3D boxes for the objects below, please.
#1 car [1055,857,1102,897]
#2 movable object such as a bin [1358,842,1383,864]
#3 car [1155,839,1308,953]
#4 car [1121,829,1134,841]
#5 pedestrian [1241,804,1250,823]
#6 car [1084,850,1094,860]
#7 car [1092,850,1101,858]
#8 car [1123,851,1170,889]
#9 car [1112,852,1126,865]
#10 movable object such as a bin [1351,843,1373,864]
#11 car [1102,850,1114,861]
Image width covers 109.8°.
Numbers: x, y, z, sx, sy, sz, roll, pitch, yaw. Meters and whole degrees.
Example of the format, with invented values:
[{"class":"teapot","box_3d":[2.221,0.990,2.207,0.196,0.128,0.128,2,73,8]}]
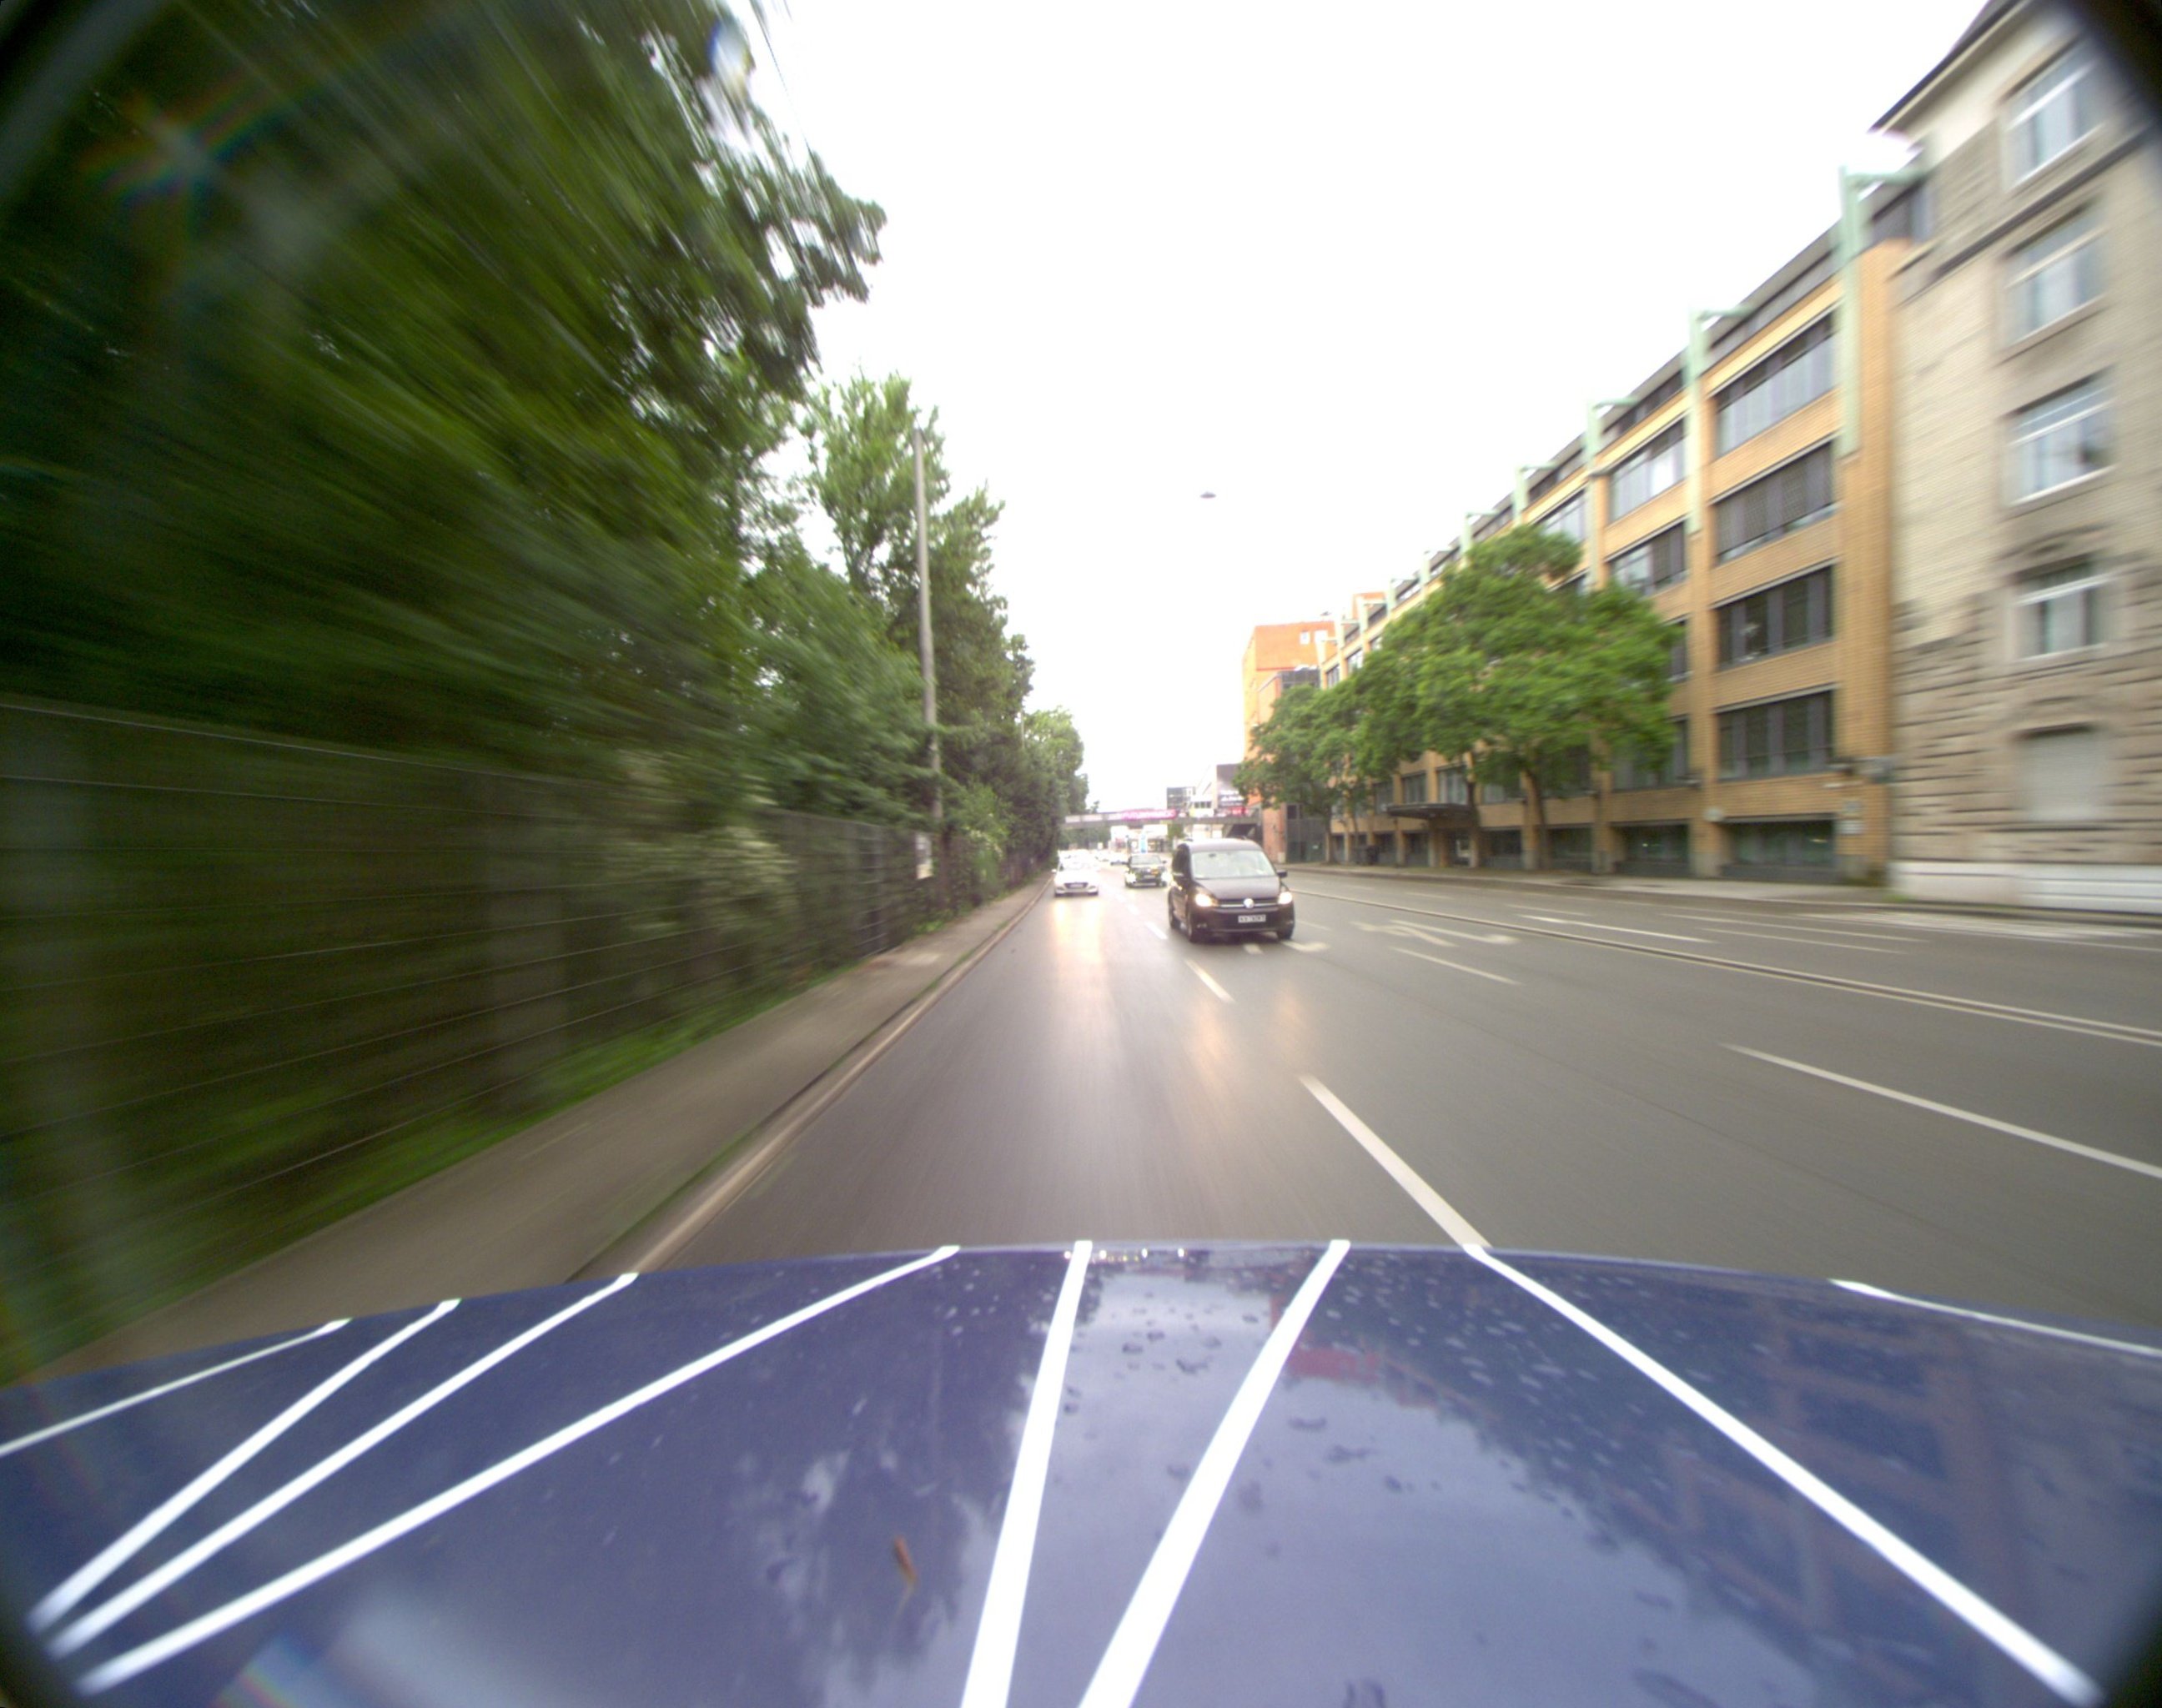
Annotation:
[{"class":"car","box_3d":[-0.131,0.893,31.164,1.731,1.431,3.999,-3,1,-1]},{"class":"movable object such as a bin","box_3d":[20.472,-0.065,53.788,1.071,1.428,1.372,-4,0,-5]},{"class":"car","box_3d":[2.600,0.667,14.097,1.842,1.780,3.999,-1,0,-3]},{"class":"car","box_3d":[7.289,-2.956,118.291,1.823,1.602,4.000,-4,1,5]},{"class":"pedestrian","box_3d":[19.606,-4.808,90.550,0.833,2.242,0.738,-1,1,-6]},{"class":"car","box_3d":[1.584,0.240,150.053,1.878,1.762,3.999,-4,1,0]},{"class":"car","box_3d":[3.675,-0.053,182.061,1.878,1.762,3.999,-4,1,0]},{"class":"car","box_3d":[3.050,0.694,36.113,1.731,1.604,3.999,-3,1,-1]},{"class":"car","box_3d":[5.078,0.583,101.757,1.730,1.502,3.732,-3,1,4]},{"class":"movable object such as a bin","box_3d":[20.380,-0.056,55.139,0.976,1.428,1.313,-4,1,-5]},{"class":"car","box_3d":[4.888,0.195,138.224,1.878,1.762,3.999,-4,1,0]}]
